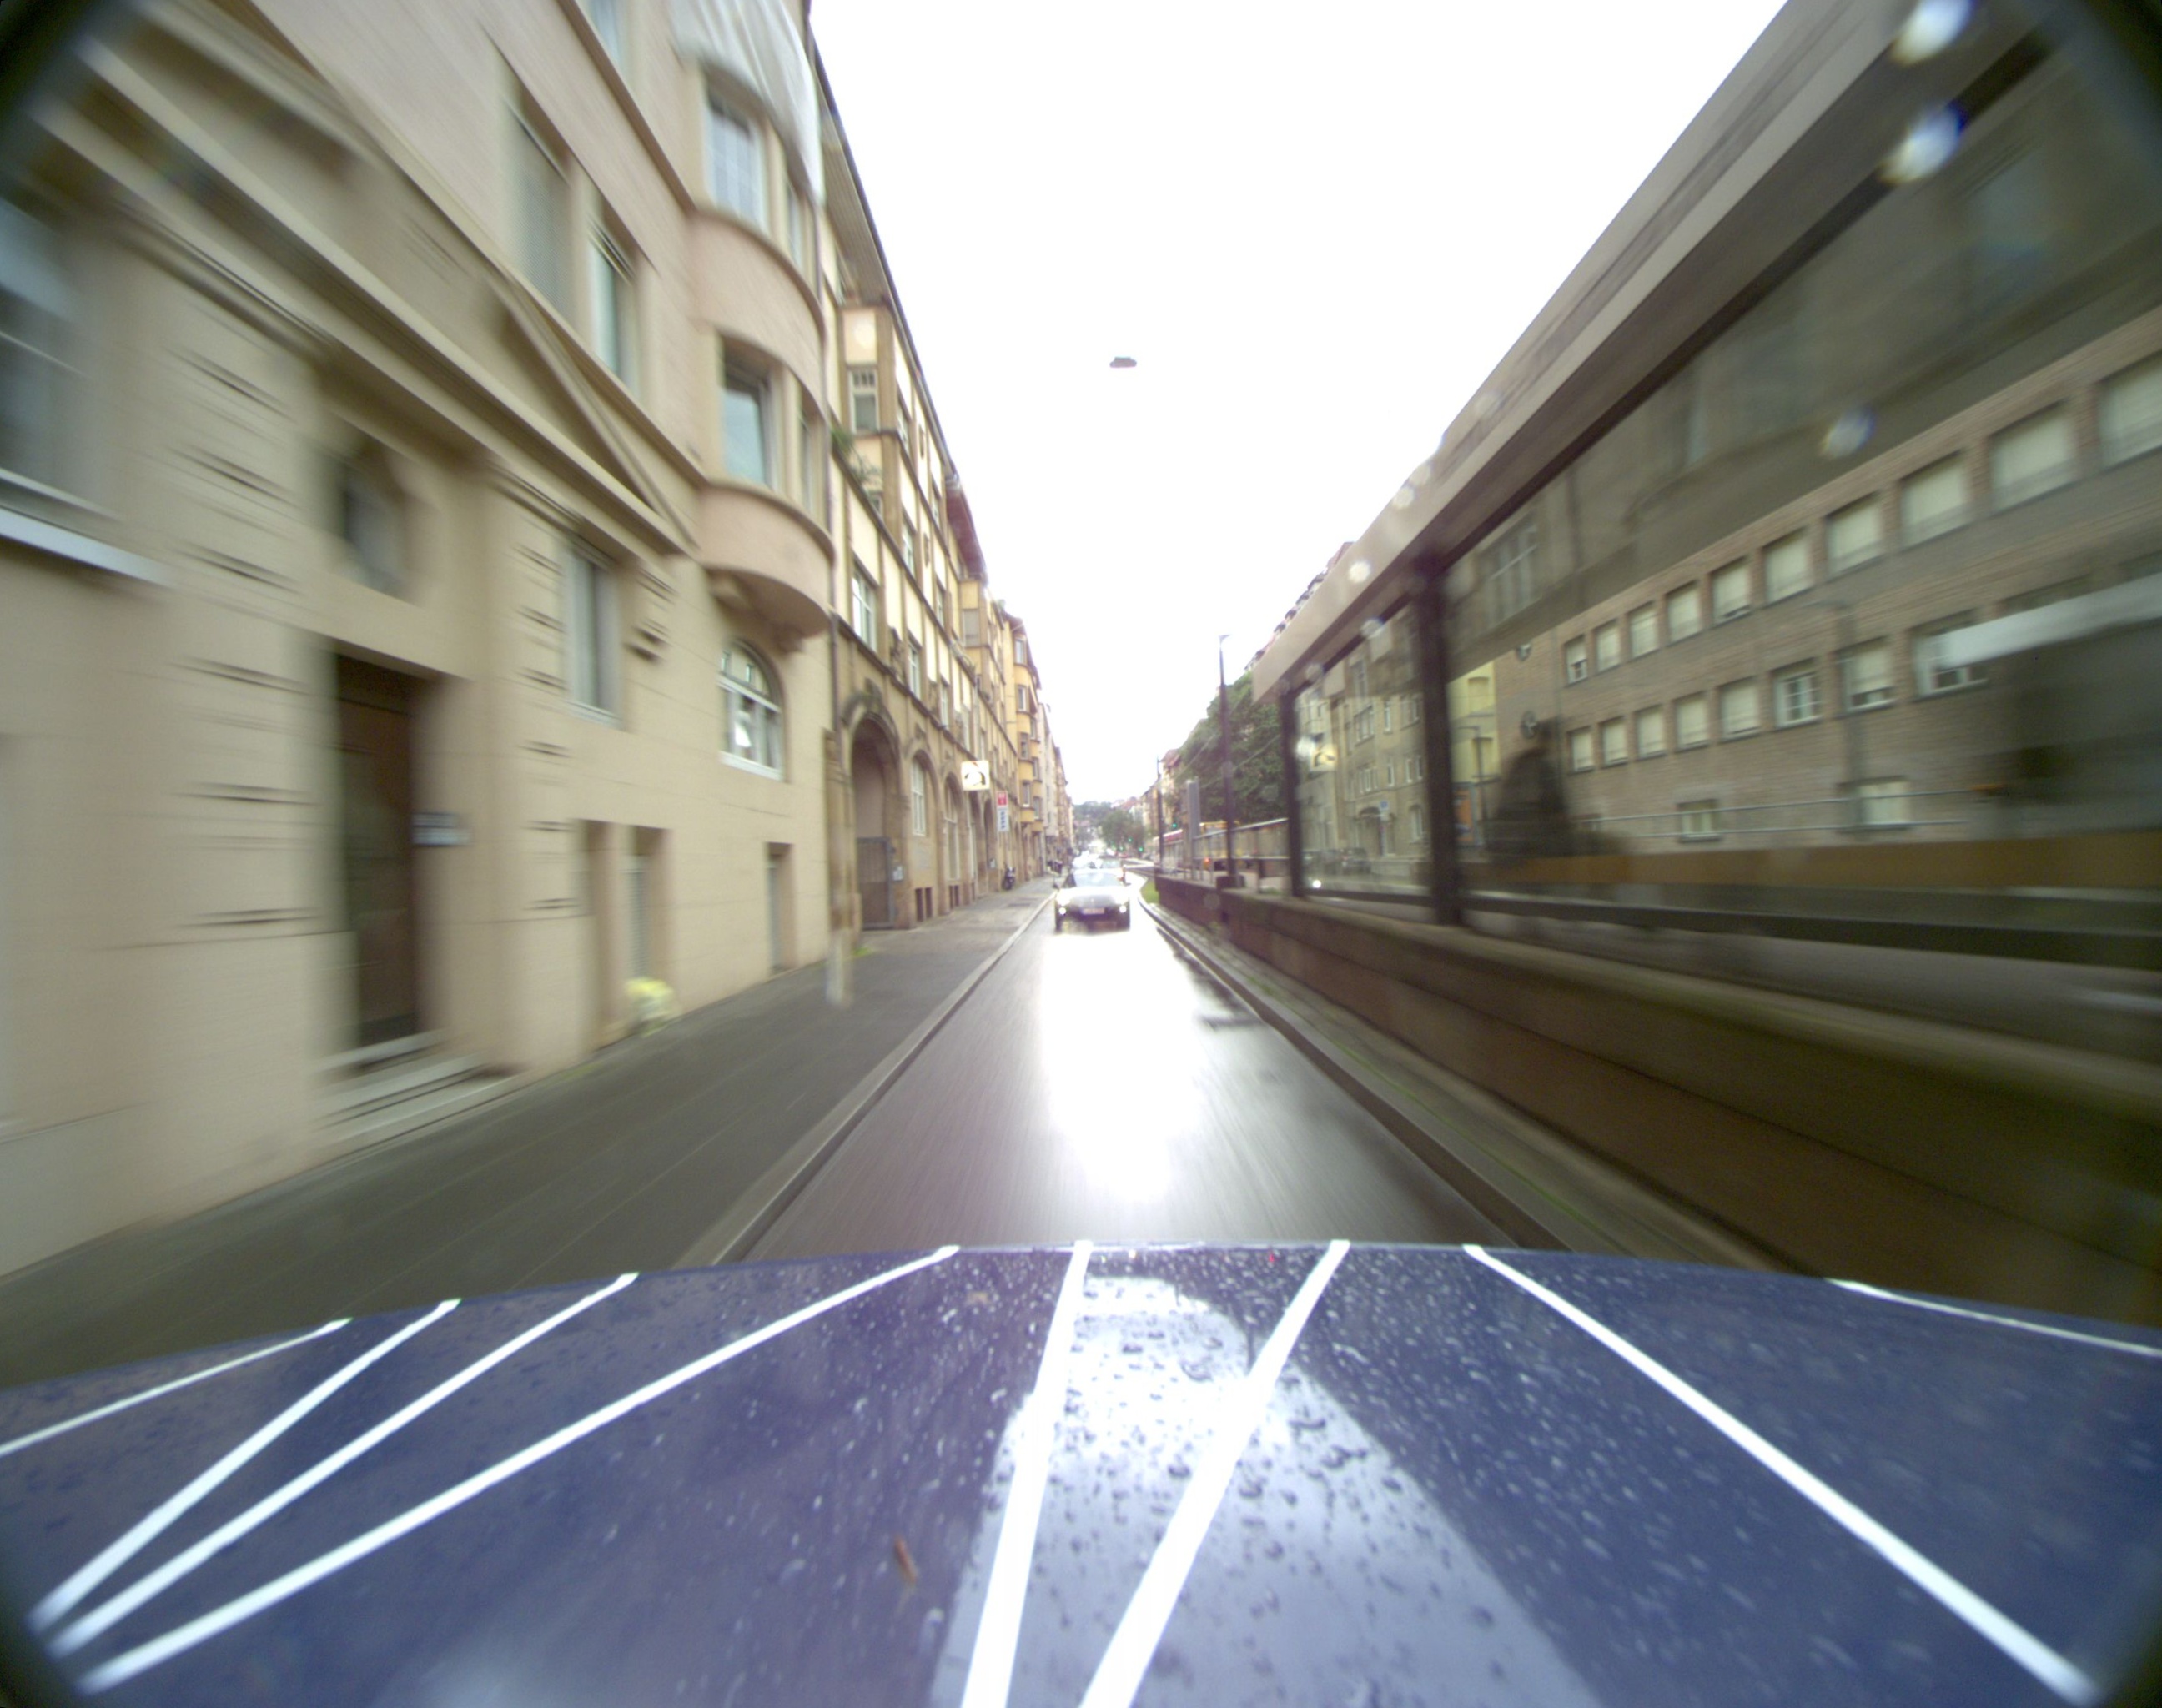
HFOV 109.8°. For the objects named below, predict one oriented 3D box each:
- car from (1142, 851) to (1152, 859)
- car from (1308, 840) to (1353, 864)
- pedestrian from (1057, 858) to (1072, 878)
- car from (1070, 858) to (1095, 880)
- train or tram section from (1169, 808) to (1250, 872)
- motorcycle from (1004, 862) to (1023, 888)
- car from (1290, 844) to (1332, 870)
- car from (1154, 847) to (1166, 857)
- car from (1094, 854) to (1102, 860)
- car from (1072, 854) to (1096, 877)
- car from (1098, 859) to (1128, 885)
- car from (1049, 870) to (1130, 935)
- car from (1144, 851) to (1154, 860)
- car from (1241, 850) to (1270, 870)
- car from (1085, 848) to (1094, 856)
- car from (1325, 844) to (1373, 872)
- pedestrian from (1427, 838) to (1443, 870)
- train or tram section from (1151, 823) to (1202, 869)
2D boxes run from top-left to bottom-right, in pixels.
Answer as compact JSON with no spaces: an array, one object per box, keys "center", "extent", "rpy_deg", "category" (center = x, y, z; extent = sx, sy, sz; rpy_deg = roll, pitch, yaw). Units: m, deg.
[{"center":[16.492,0.285,189.350],"extent":[1.998,1.958,4.000],"rpy_deg":[-3,0,1],"category":"car"},{"center":[15.379,-0.120,46.951],"extent":[1.648,1.395,3.633],"rpy_deg":[-2,0,2],"category":"car"},{"center":[-1.460,1.278,67.504],"extent":[1.125,1.703,1.102],"rpy_deg":[-3,0,2],"category":"pedestrian"},{"center":[0.150,1.089,55.915],"extent":[1.633,1.443,4.001],"rpy_deg":[-2,0,2],"category":"car"},{"center":[9.241,-0.932,57.796],"extent":[2.721,3.898,19.861],"rpy_deg":[-3,0,0],"category":"train or tram section"},{"center":[-3.382,1.065,38.281],"extent":[0.692,1.230,1.779],"rpy_deg":[3,0,1],"category":"motorcycle"},{"center":[15.644,0.197,51.902],"extent":[1.648,1.571,4.339],"rpy_deg":[-2,0,2],"category":"car"},{"center":[16.440,-0.390,159.040],"extent":[1.998,1.958,4.000],"rpy_deg":[-5,0,1],"category":"car"},{"center":[5.286,0.923,236.574],"extent":[1.998,1.958,4.000],"rpy_deg":[-5,0,1],"category":"car"},{"center":[0.280,0.913,62.739],"extent":[1.741,1.787,4.266],"rpy_deg":[-2,0,2],"category":"car"},{"center":[1.854,1.021,45.120],"extent":[1.689,1.451,3.299],"rpy_deg":[-1,0,1],"category":"car"},{"center":[0.272,1.107,18.701],"extent":[1.704,1.280,4.196],"rpy_deg":[-2,0,2],"category":"car"},{"center":[16.385,0.300,182.298],"extent":[1.998,1.958,4.000],"rpy_deg":[-3,0,1],"category":"car"},{"center":[15.861,0.547,69.185],"extent":[1.648,1.696,4.098],"rpy_deg":[-2,0,0],"category":"car"},{"center":[2.104,-0.413,183.974],"extent":[1.998,1.761,4.000],"rpy_deg":[-3,0,3],"category":"car"},{"center":[15.238,0.217,43.325],"extent":[1.648,1.457,3.111],"rpy_deg":[-2,0,2],"category":"car"},{"center":[18.452,0.009,39.634],"extent":[0.550,1.644,0.542],"rpy_deg":[-3,0,2],"category":"pedestrian"},{"center":[9.293,-0.726,76.701],"extent":[2.721,3.898,19.297],"rpy_deg":[-3,0,0],"category":"train or tram section"}]
